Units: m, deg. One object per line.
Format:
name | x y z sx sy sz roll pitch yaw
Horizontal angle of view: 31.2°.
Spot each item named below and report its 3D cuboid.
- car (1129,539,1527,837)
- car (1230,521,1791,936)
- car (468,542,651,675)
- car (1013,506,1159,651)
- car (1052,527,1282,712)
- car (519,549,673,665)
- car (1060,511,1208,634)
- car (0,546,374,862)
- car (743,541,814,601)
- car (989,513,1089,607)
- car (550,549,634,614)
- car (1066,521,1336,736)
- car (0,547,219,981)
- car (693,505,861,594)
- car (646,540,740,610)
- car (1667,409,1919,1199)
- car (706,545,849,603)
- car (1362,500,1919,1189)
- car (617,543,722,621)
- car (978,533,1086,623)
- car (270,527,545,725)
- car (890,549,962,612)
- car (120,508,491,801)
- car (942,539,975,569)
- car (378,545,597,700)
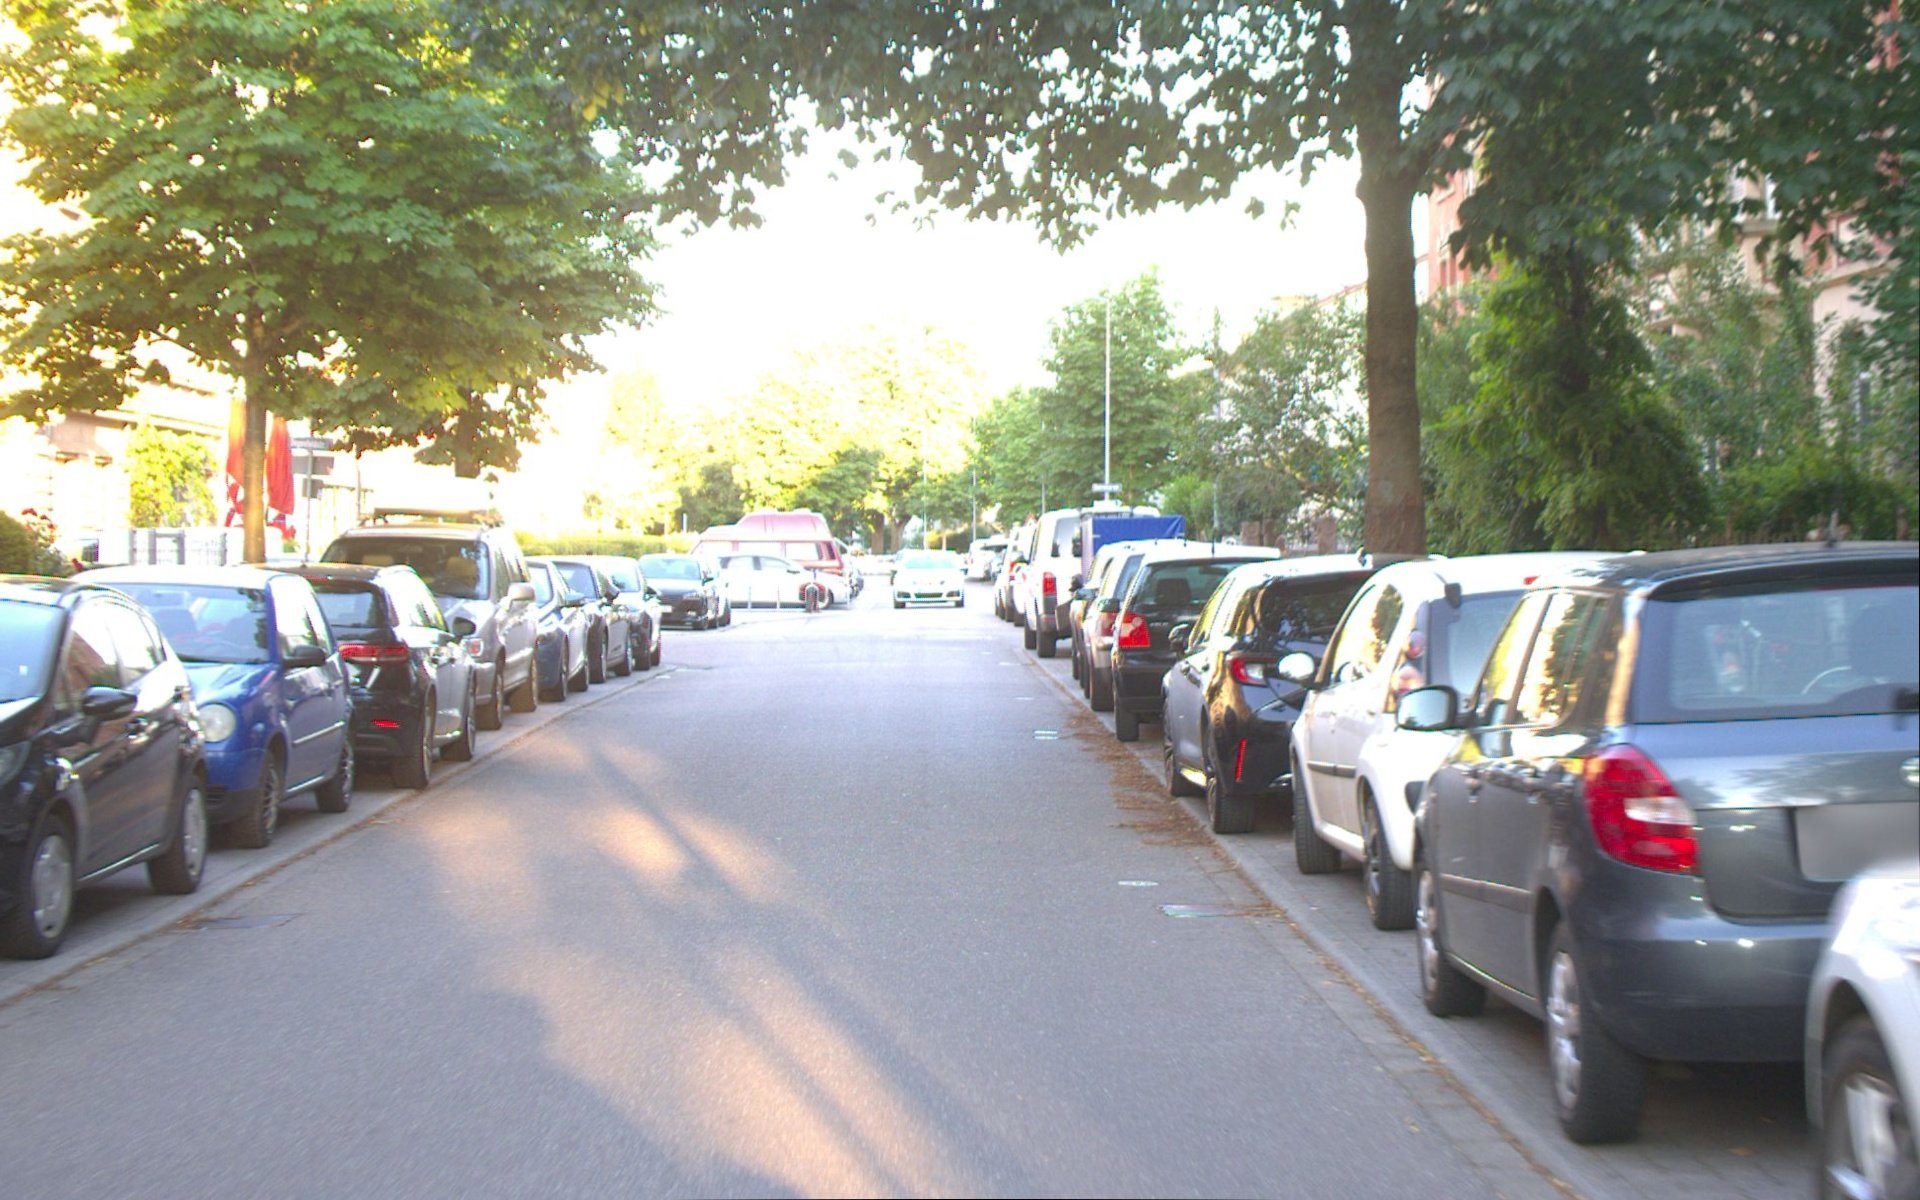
car | 1.966 0.424 19.504 1.687 1.436 4.210 -2 1 -1
car | 2.284 0.477 15.188 1.686 1.600 3.749 0 1 -3
car | -4.557 0.063 39.526 1.715 1.436 3.631 0 1 -1
car | 1.711 -0.307 47.859 1.680 1.934 3.881 0 1 -3
car | 1.854 0.151 31.886 1.686 1.600 3.940 0 1 -3
car | -4.742 0.064 45.228 1.599 1.436 3.838 0 1 0
car | 2.202 -0.356 44.136 1.538 1.516 3.432 0 1 -3
car | -4.424 0.491 19.124 1.715 1.561 3.788 0 1 -1
car | -4.484 -0.731 84.621 1.715 1.436 3.631 0 1 -4
car | 1.548 -0.791 68.323 1.686 1.805 3.940 0 1 -3
car | -8.353 -0.435 78.235 1.715 1.436 3.631 -1 1 -4
car | 1.859 0.192 27.592 1.686 1.600 3.940 0 1 -3
car | -4.321 0.582 14.265 1.715 1.561 3.781 0 0 -1
car | -4.783 -1.326 90.144 4.349 2.310 1.746 0 1 -2
car | -5.660 -0.550 73.235 1.716 1.436 3.631 0 1 0
car | 2.394 0.560 4.351 1.798 1.705 4.601 -1 1 -3
car | -4.664 -0.670 87.595 3.618 1.456 1.607 0 1 -4
car | 2.289 0.546 10.104 1.686 1.600 4.210 0 1 0
car | -5.663 -0.341 67.345 1.716 1.481 3.630 0 0 0
car | 1.300 -0.414 63.579 1.686 1.600 3.940 0 1 -3
car | -4.728 0.171 29.974 1.715 1.590 4.519 0 1 -1
car | -0.874 -0.519 88.786 1.813 1.590 3.483 0 1 -1
car | -4.272 0.287 23.043 1.715 1.784 4.216 0 1 -1
car | -0.085 -2.494 186.968 1.715 1.590 3.483 0 1 -1
car | -4.737 0.184 34.943 1.715 1.460 3.987 0 1 -1
